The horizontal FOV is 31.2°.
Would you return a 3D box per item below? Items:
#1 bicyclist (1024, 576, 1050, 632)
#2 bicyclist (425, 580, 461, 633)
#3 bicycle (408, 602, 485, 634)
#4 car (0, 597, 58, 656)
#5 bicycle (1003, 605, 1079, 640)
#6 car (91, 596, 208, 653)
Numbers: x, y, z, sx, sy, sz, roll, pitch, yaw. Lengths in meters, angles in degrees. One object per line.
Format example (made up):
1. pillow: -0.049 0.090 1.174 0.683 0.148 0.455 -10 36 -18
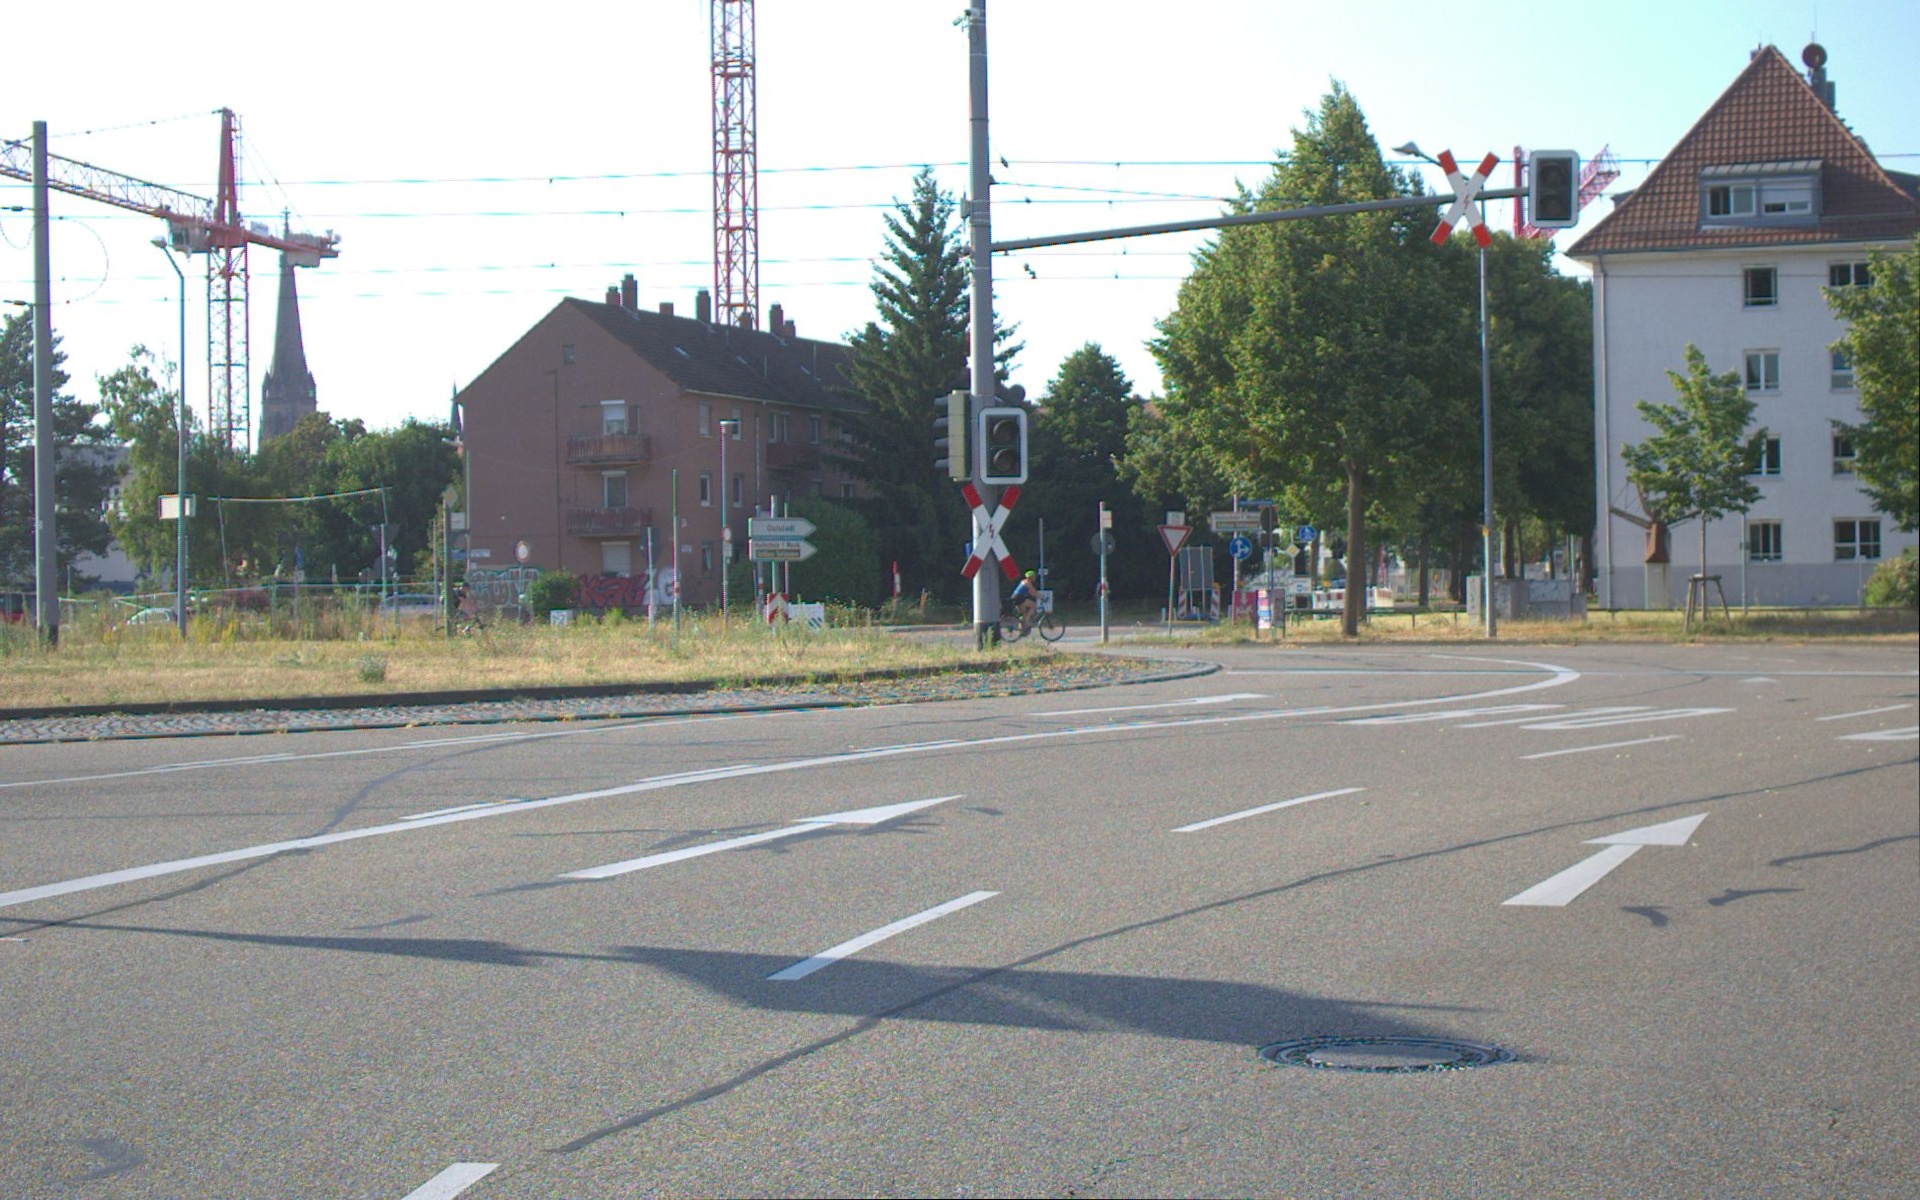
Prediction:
1. bicyclist: 2.075 0.106 92.680 0.622 1.506 0.419 -1 0 -11
2. bicyclist: -13.718 0.177 91.250 0.897 1.391 0.526 -1 0 -11
3. bicycle: -13.634 0.478 91.208 1.987 0.822 0.430 -1 0 -11
4. car: -30.495 0.830 109.856 1.919 1.848 3.999 -1 1 -35
5. bicycle: 2.184 0.607 92.704 1.987 0.915 0.430 -1 0 -11
6. car: -29.691 0.894 125.967 3.811 2.007 1.671 -1 0 13
